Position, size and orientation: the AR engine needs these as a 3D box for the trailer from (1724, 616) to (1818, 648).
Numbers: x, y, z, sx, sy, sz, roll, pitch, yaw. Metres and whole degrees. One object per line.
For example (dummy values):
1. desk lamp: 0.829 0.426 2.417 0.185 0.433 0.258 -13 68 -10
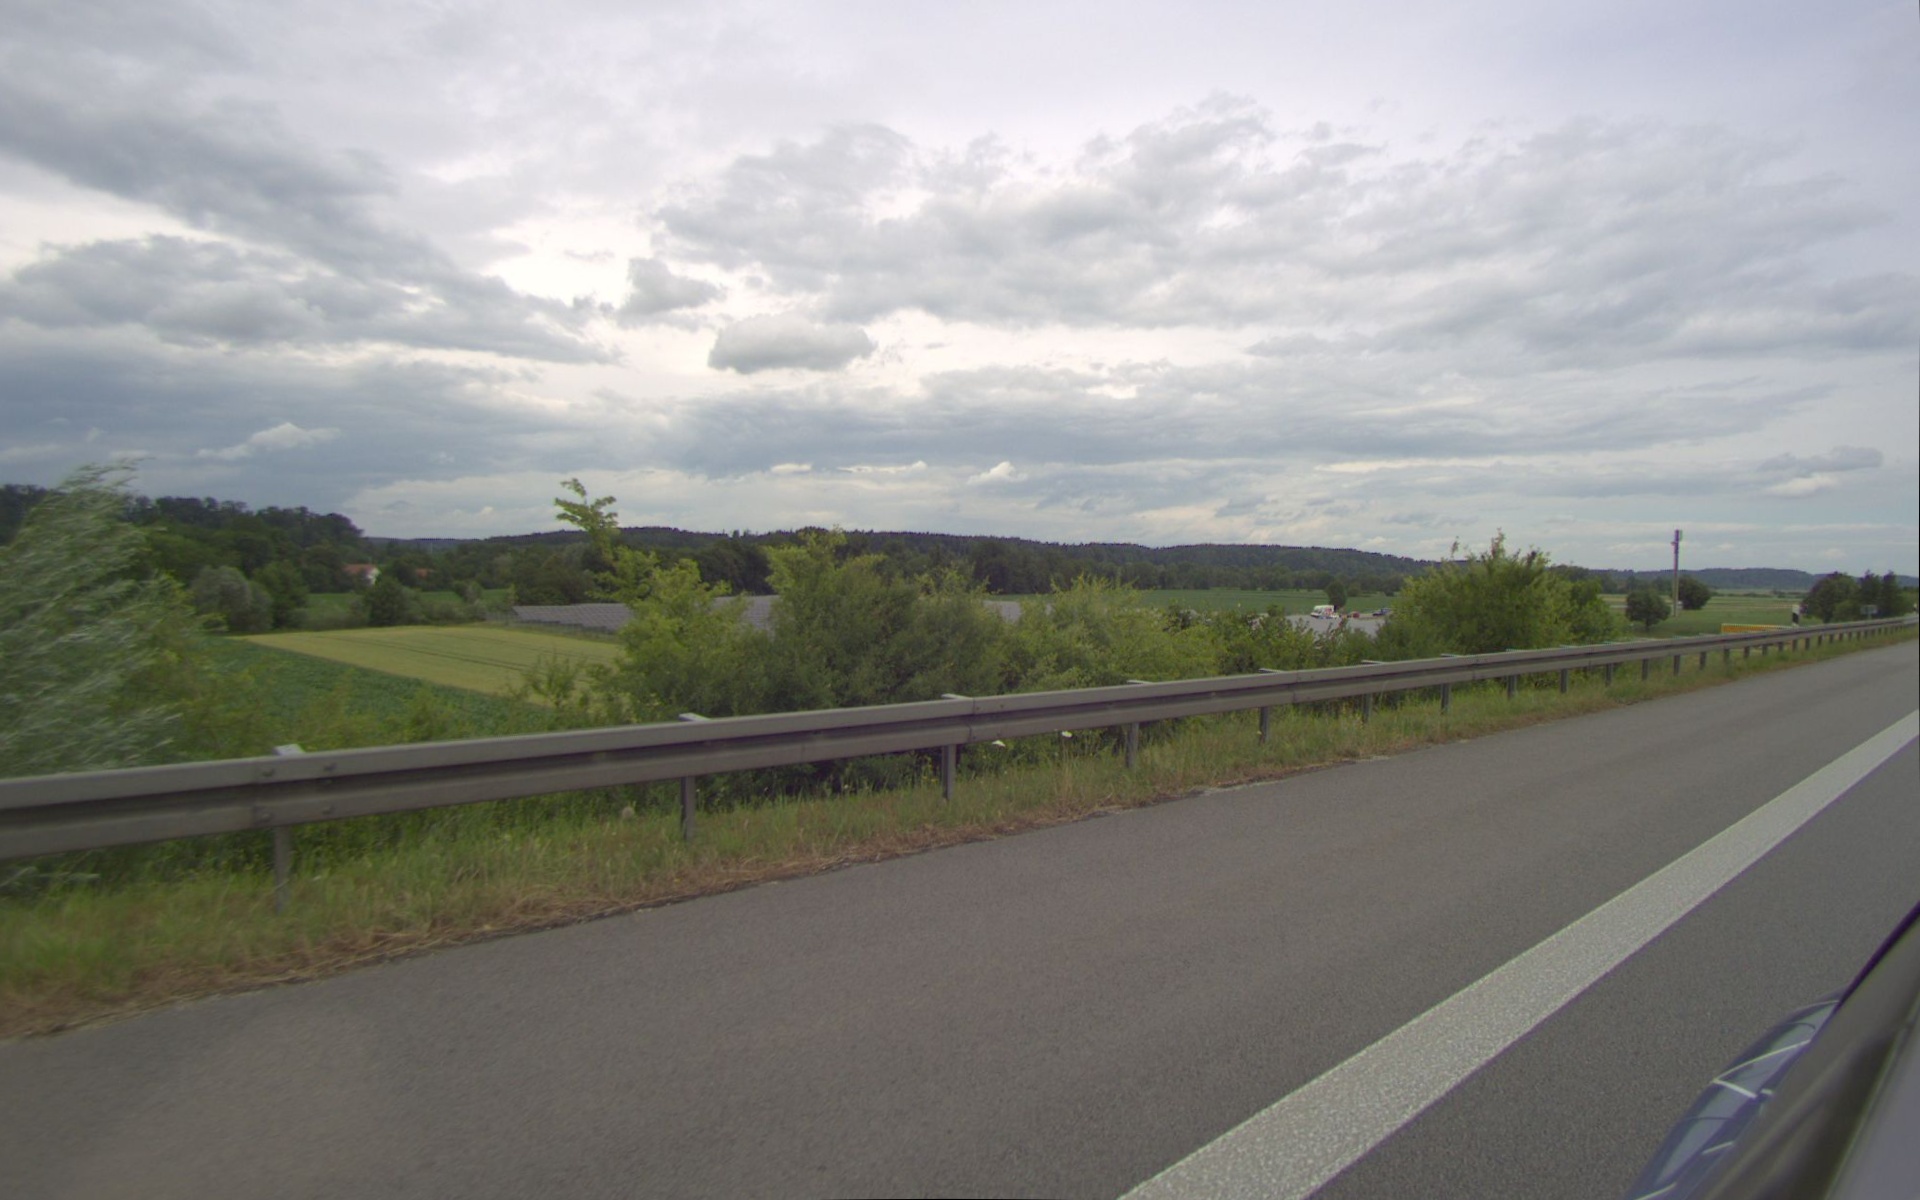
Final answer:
1. trailer: 138.367 5.319 172.920 12.274 4.847 2.971 2 1 45

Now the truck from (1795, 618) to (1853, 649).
1. truck: 143.309 5.523 167.940 7.120 4.848 2.971 2 1 45
